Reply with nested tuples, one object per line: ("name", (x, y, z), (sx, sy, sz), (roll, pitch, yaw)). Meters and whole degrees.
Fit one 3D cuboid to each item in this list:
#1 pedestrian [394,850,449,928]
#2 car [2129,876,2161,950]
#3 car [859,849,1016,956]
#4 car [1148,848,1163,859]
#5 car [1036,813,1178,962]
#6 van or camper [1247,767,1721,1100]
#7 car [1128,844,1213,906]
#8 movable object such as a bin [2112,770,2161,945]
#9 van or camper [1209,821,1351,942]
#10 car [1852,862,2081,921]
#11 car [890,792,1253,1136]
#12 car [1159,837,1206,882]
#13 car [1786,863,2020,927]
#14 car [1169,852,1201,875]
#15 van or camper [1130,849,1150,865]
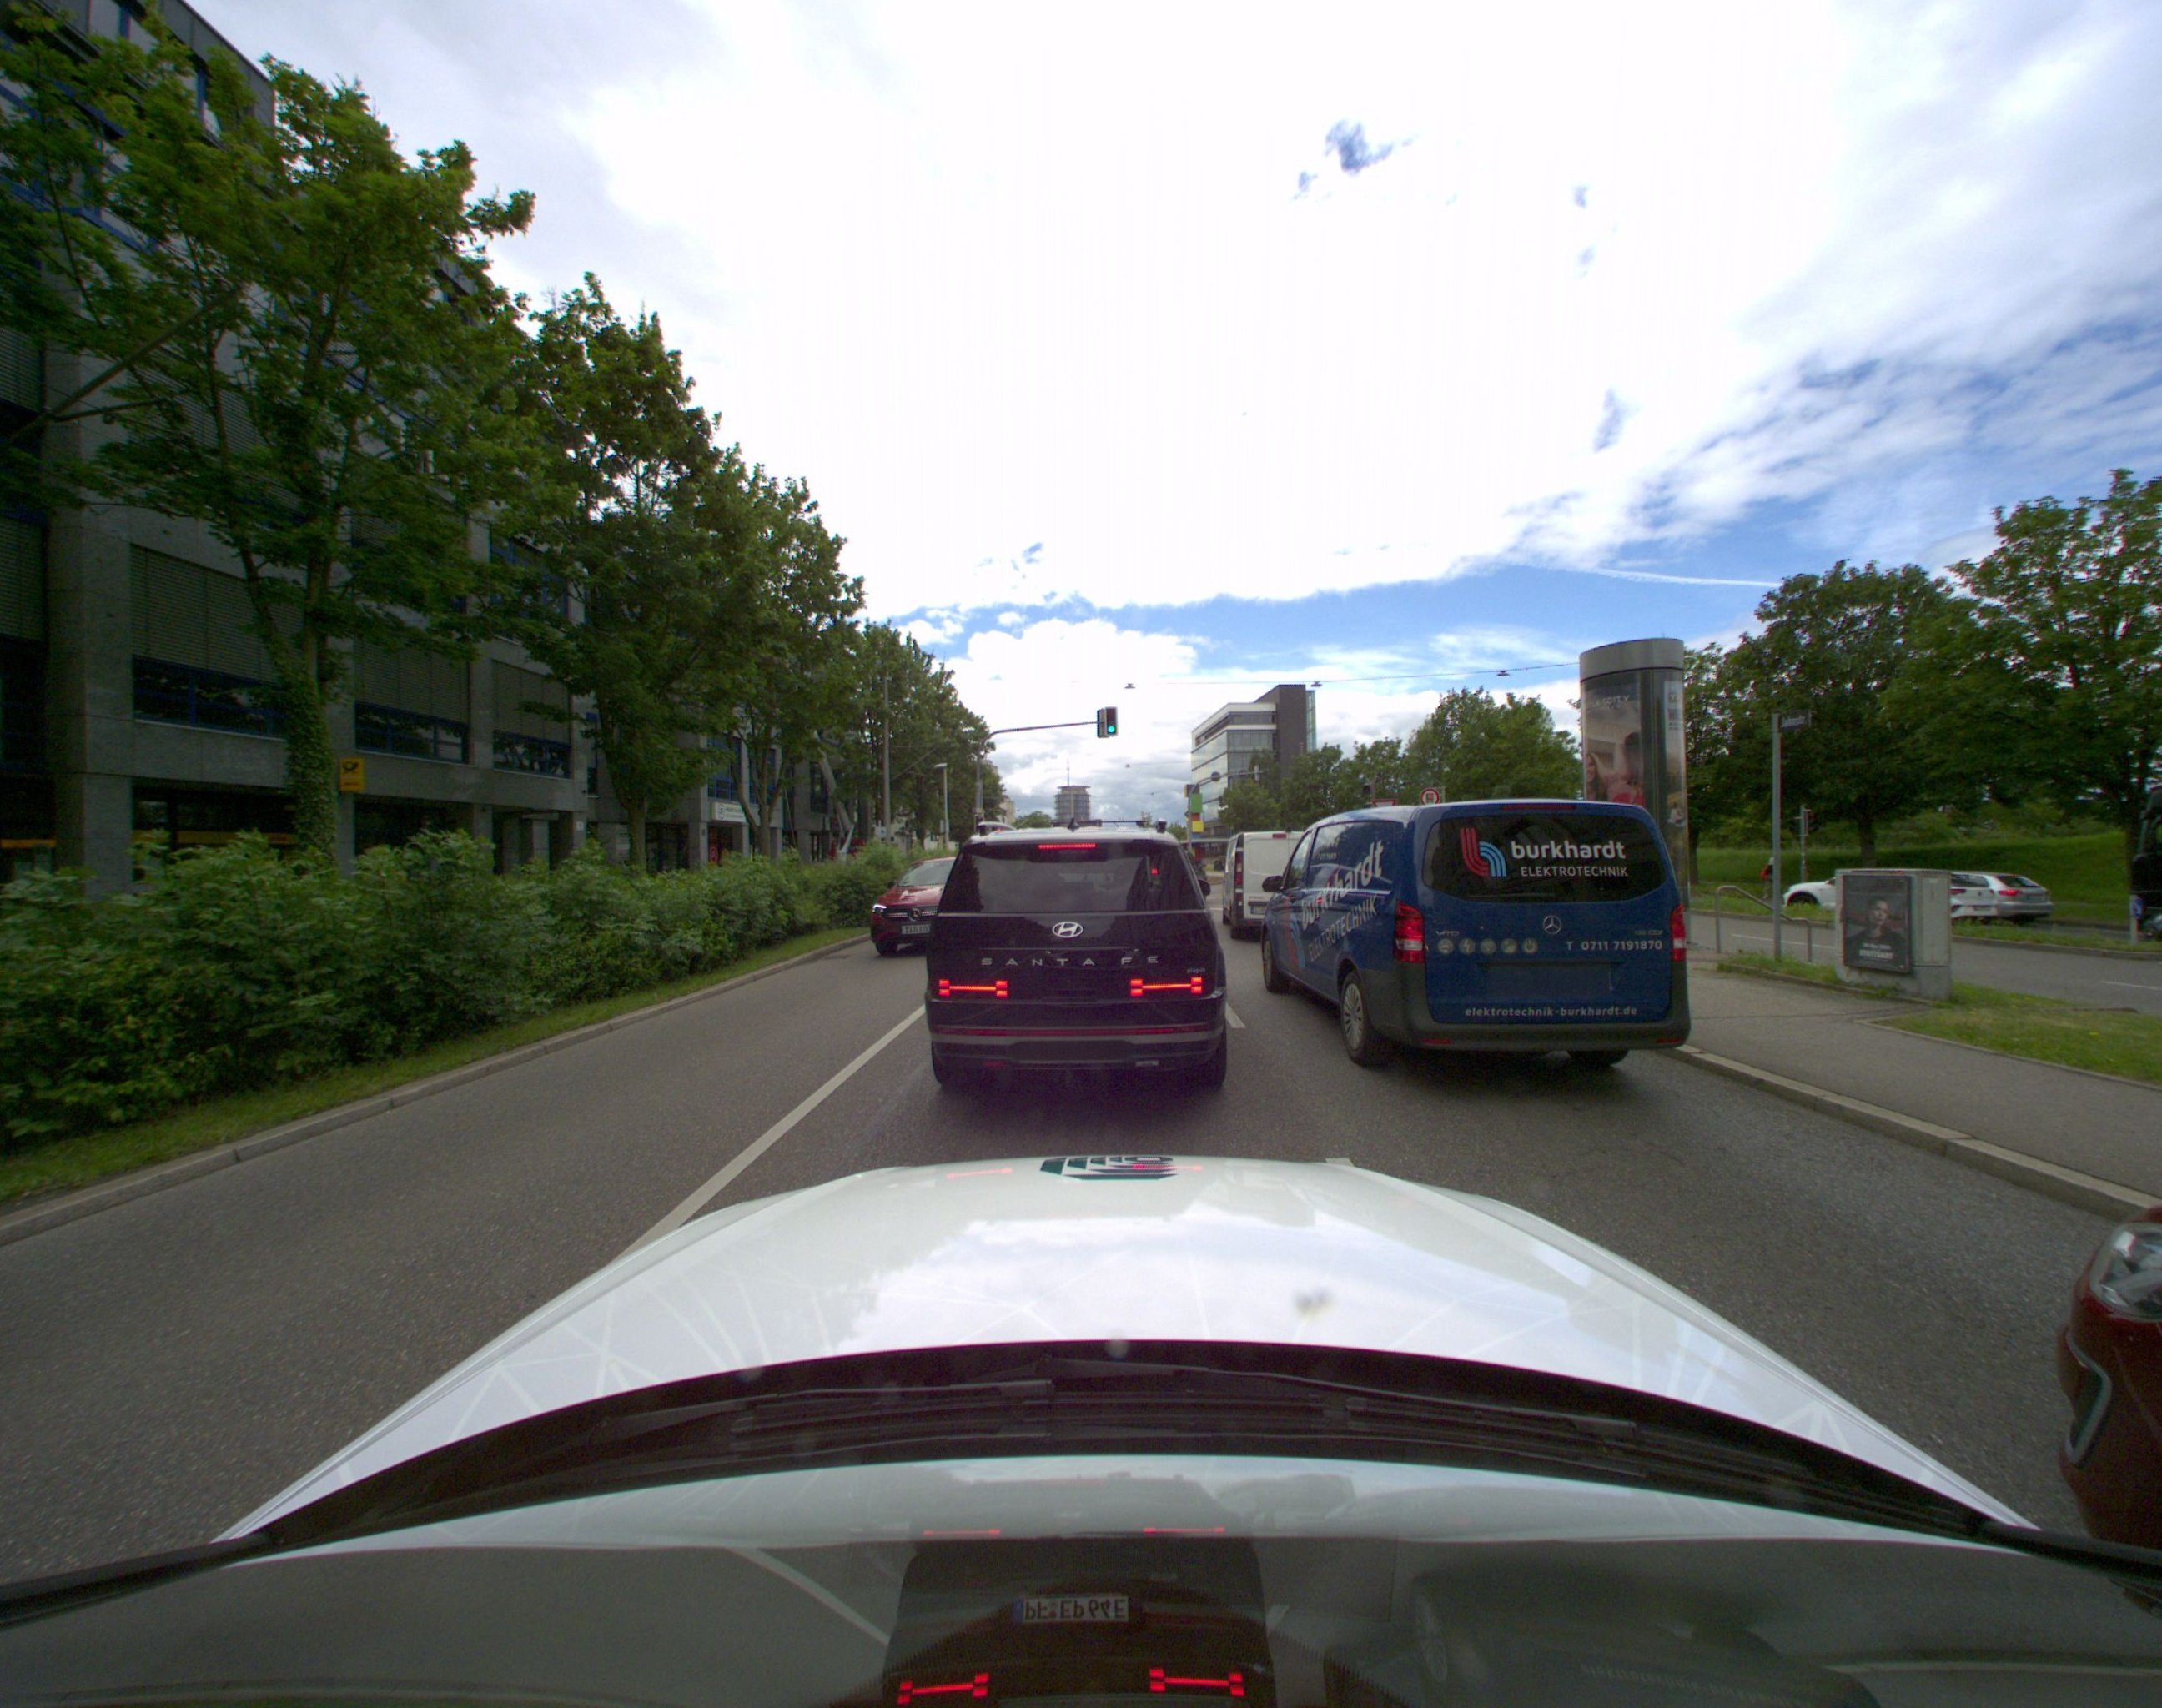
("pedestrian", (-16.396, 0.866, 20.267), (0.771, 1.894, 0.731), (-1, -1, 1))
("car", (22.981, 1.224, 15.043), (1.994, 1.453, 3.985), (1, 0, -11))
("car", (-2.438, 0.782, 14.936), (1.839, 1.581, 4.120), (-4, -1, 3))
("car", (11.958, -0.100, 131.042), (1.987, 1.684, 3.998), (-1, -1, -1))
("car", (0.413, 0.461, 13.165), (1.908, 2.003, 3.881), (-1, 0, 2))
("van or camper", (2.870, 0.470, 7.291), (1.853, 1.911, 5.034), (-1, 0, 2))
("car", (2.840, 0.612, 24.963), (1.762, 1.717, 4.358), (-1, -1, 17))
("movable object such as a bin", (26.236, 0.016, 15.024), (2.860, 3.903, 8.536), (-1, -1, -11))
("van or camper", (3.709, 0.465, 16.003), (1.984, 2.013, 4.658), (-1, 0, 5))
("car", (25.077, 1.005, 23.292), (1.994, 1.453, 3.985), (1, 0, -11))
("car", (0.010, 0.581, 6.207), (1.862, 1.760, 3.881), (-1, 0, 2))
("car", (4.870, 0.276, 39.596), (1.985, 2.014, 4.003), (-1, -1, 3))
("car", (21.744, 1.023, 21.794), (1.994, 1.453, 3.985), (1, 0, -11))
("car", (7.664, 0.699, 60.190), (1.986, 1.618, 4.001), (-1, -1, 2))
("van or camper", (9.500, 0.533, 130.433), (1.979, 2.547, 6.603), (-1, -1, 14))
